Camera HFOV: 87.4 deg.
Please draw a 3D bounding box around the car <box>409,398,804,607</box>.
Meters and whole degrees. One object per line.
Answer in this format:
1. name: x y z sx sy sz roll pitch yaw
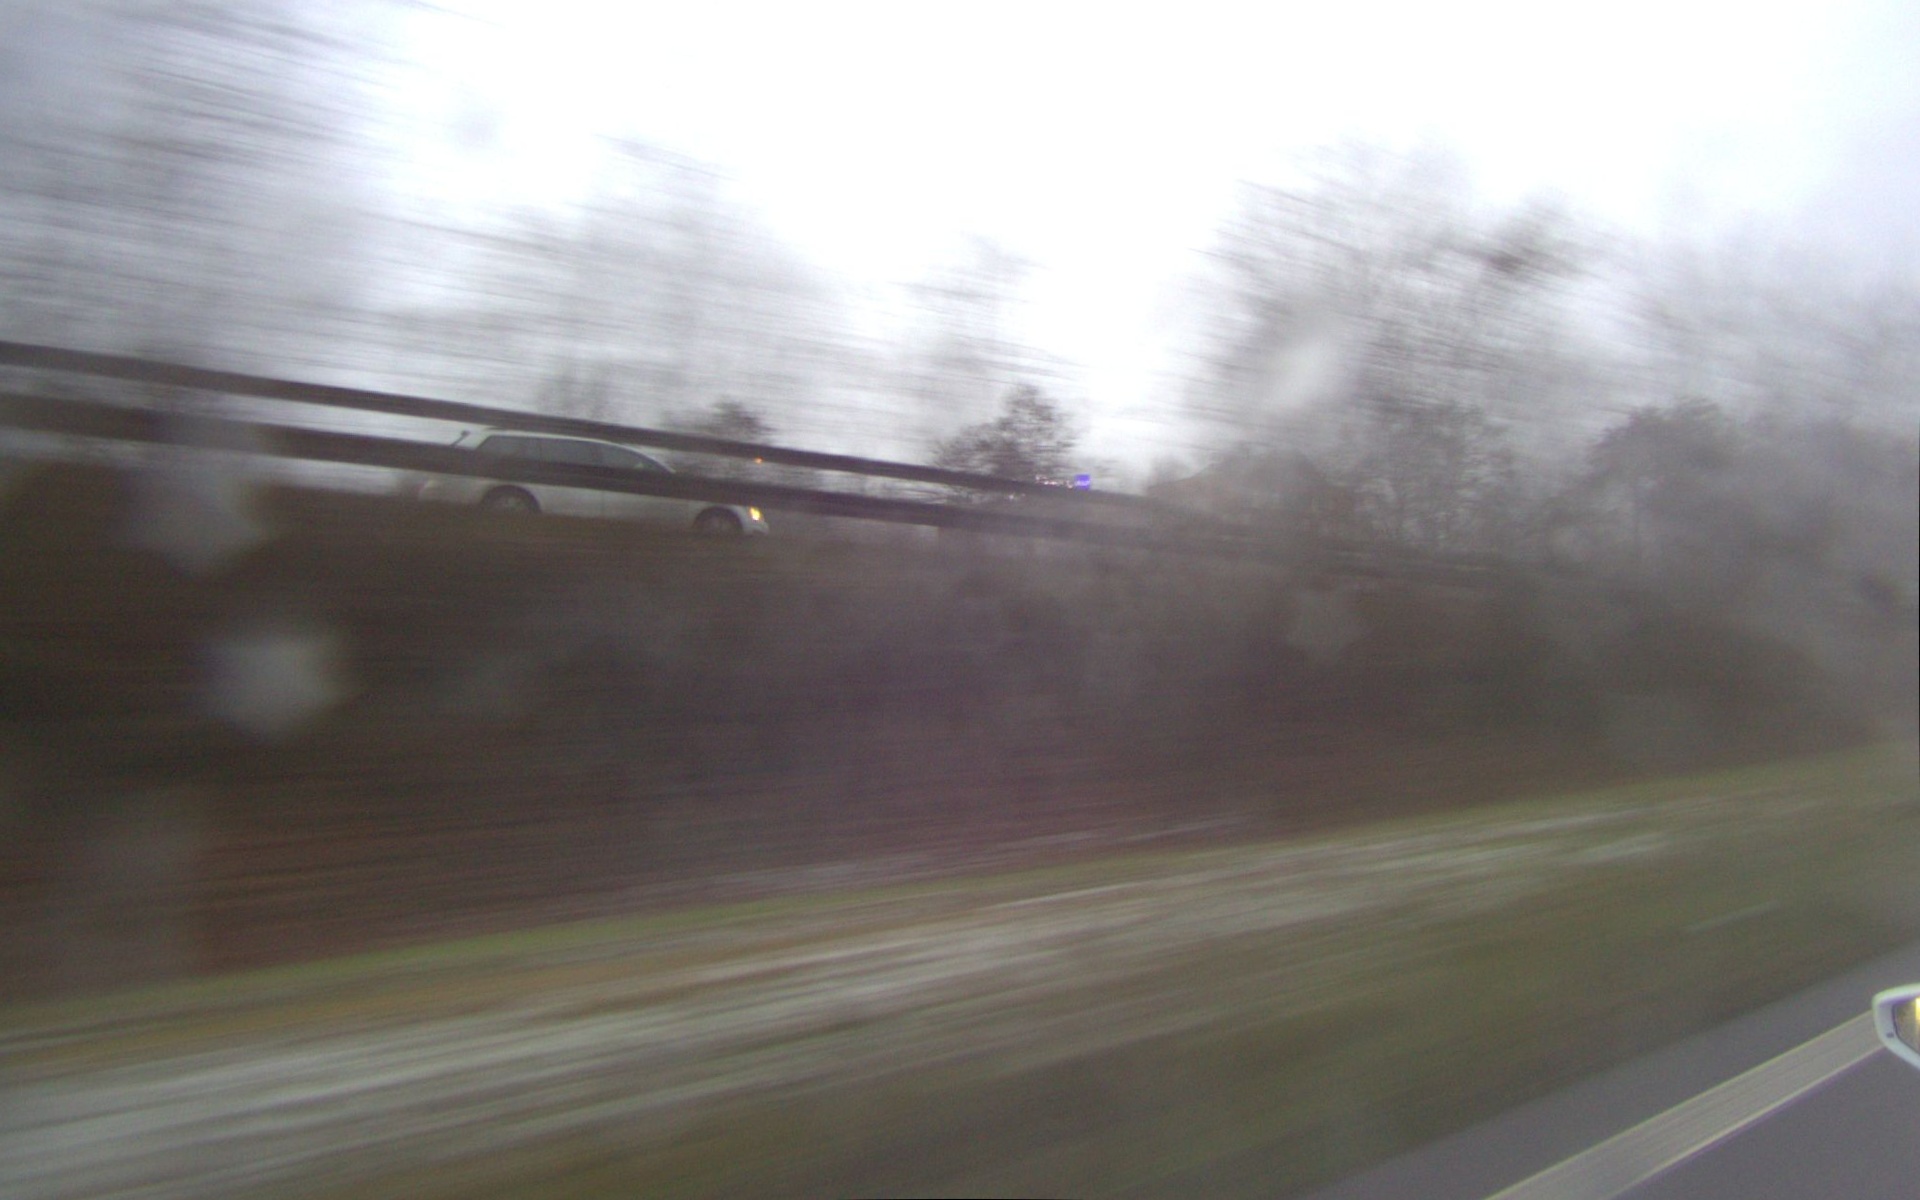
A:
1. car: -4.806 -1.246 13.915 4.693 2.039 1.986 6 3 -27
